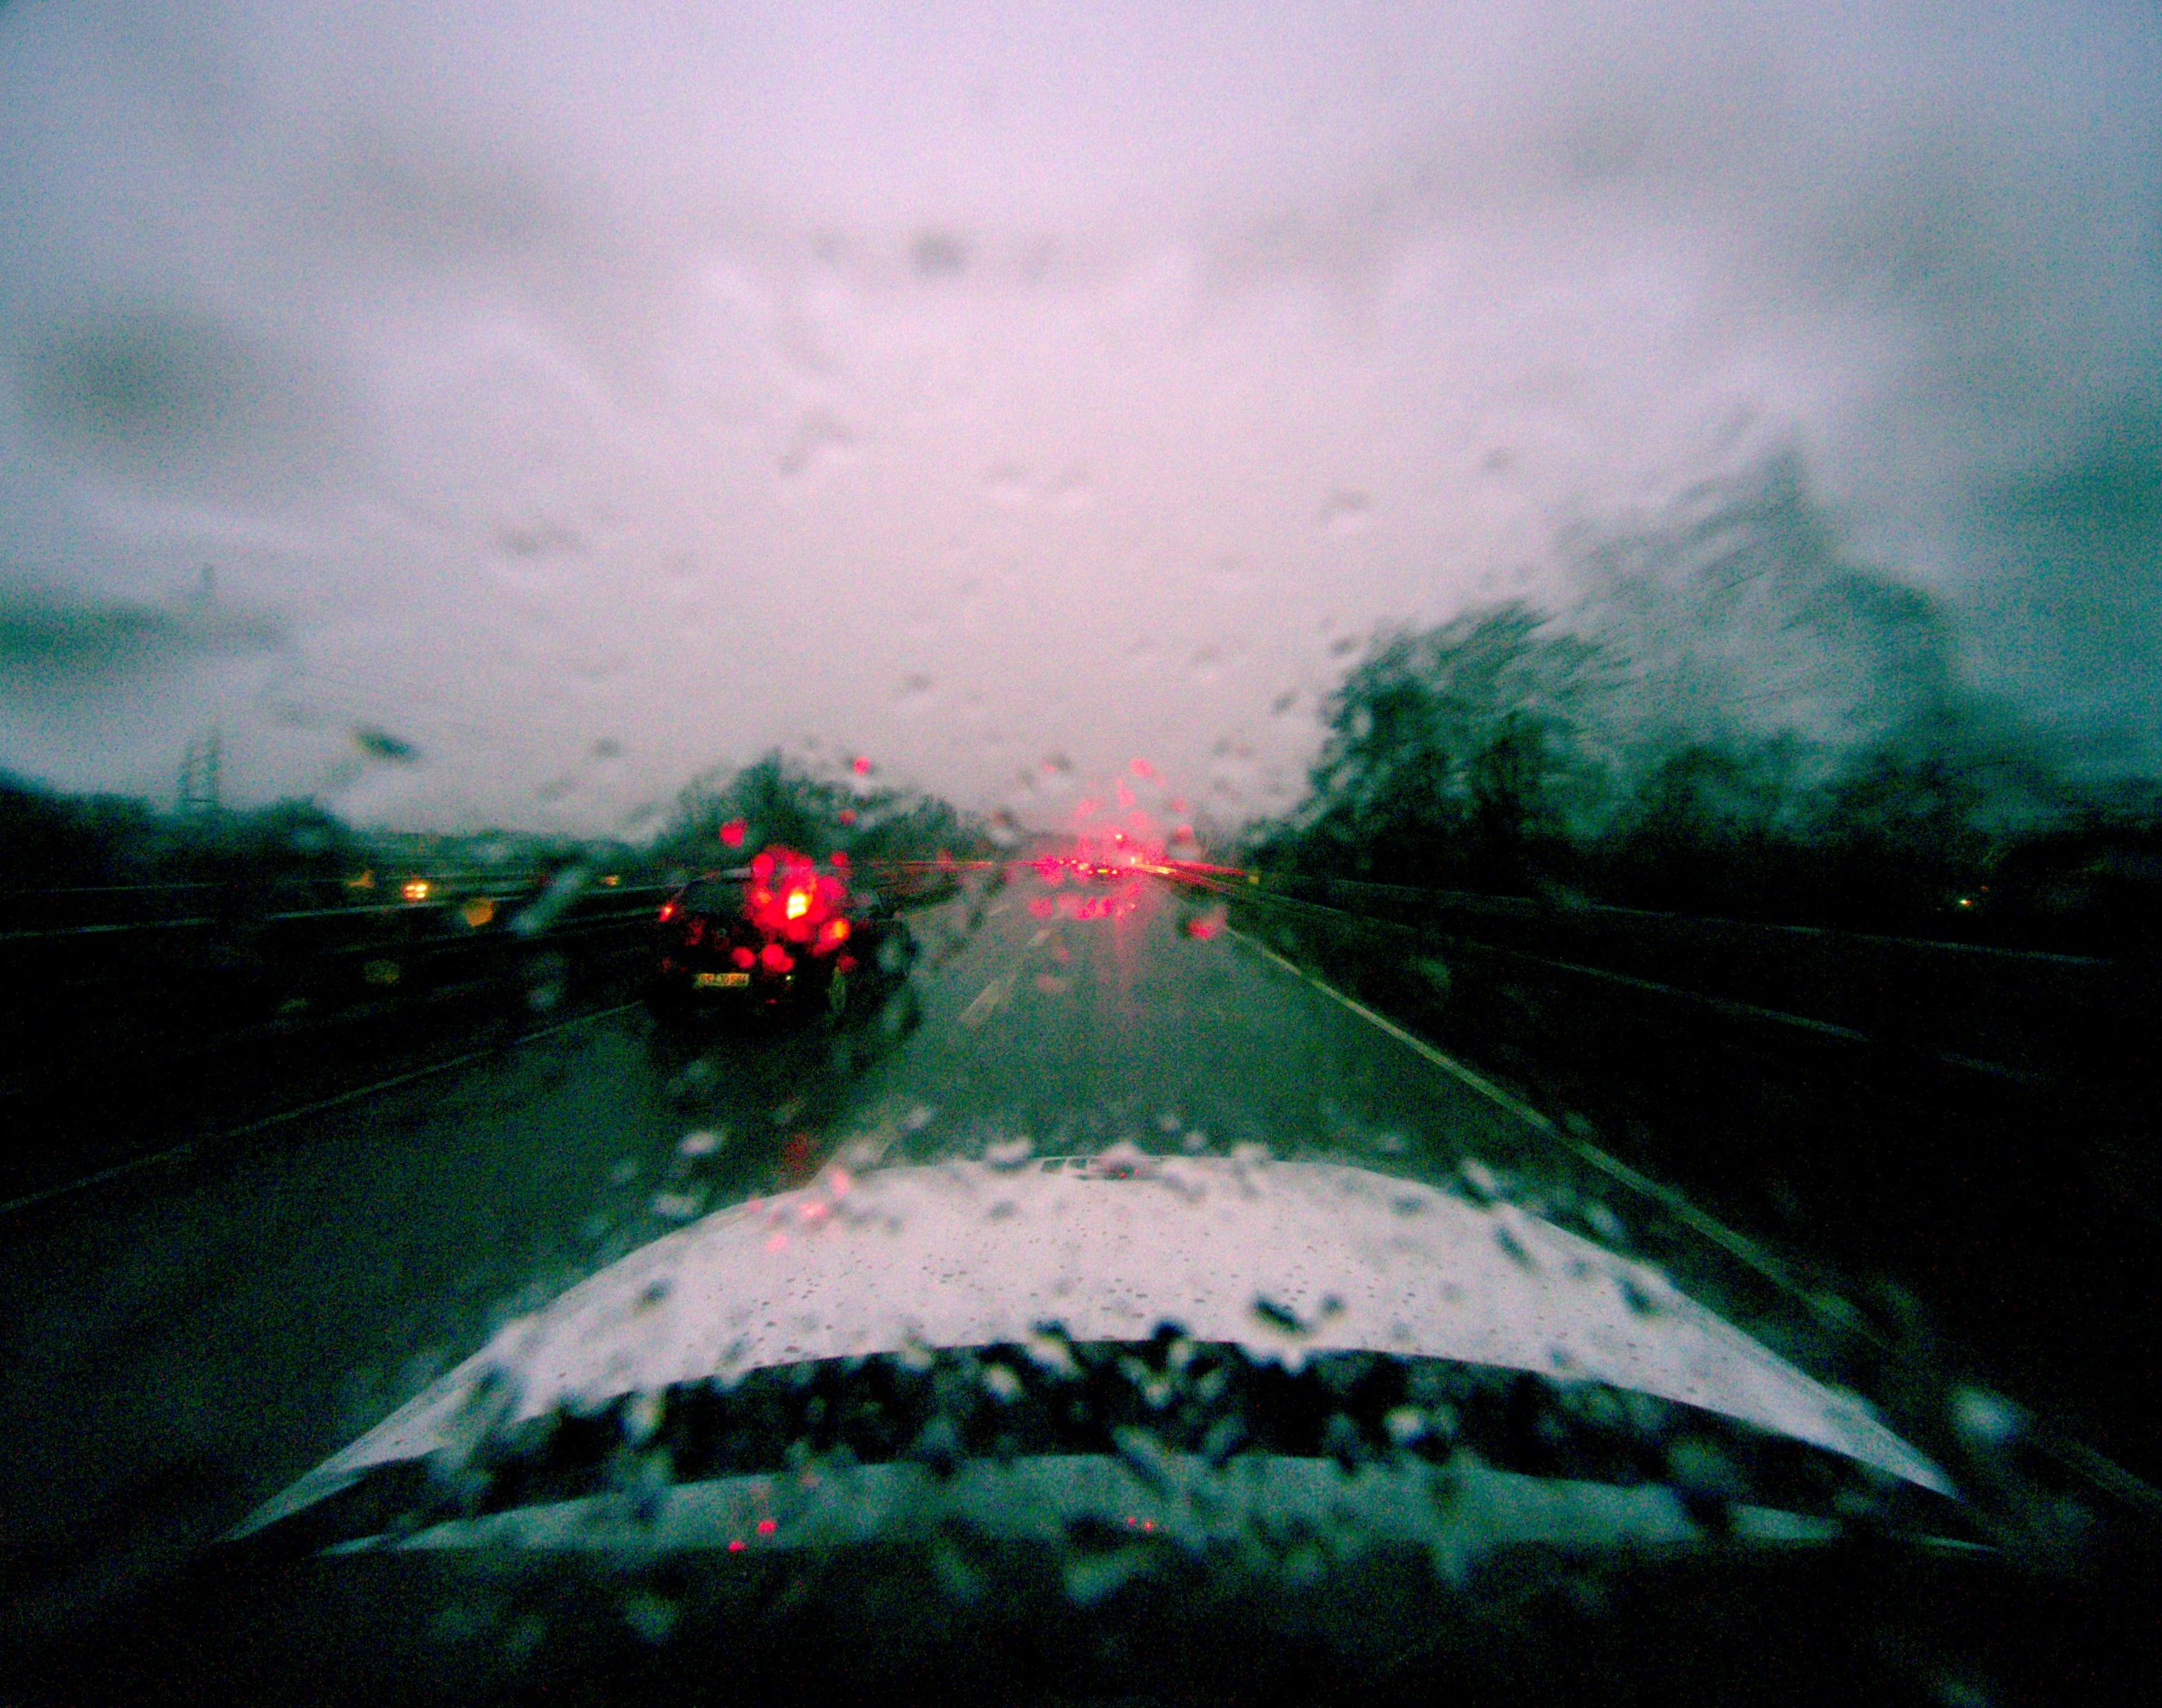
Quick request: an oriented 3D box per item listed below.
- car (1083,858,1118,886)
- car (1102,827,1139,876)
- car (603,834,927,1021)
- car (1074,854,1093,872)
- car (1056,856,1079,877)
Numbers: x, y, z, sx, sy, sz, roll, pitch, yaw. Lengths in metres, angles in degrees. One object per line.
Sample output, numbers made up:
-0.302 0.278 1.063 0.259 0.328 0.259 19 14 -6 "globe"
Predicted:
1.108 0.956 44.327 1.729 1.414 4.381 2 -1 3 "car"
2.615 -0.081 54.394 2.273 2.966 6.392 -1 -2 2 "car"
-3.008 0.687 8.788 1.723 1.533 4.044 -1 -2 3 "car"
0.295 1.053 95.987 1.987 1.713 4.000 -7 2 0 "car"
-1.230 1.166 75.911 1.987 1.815 4.000 2 -1 0 "car"
